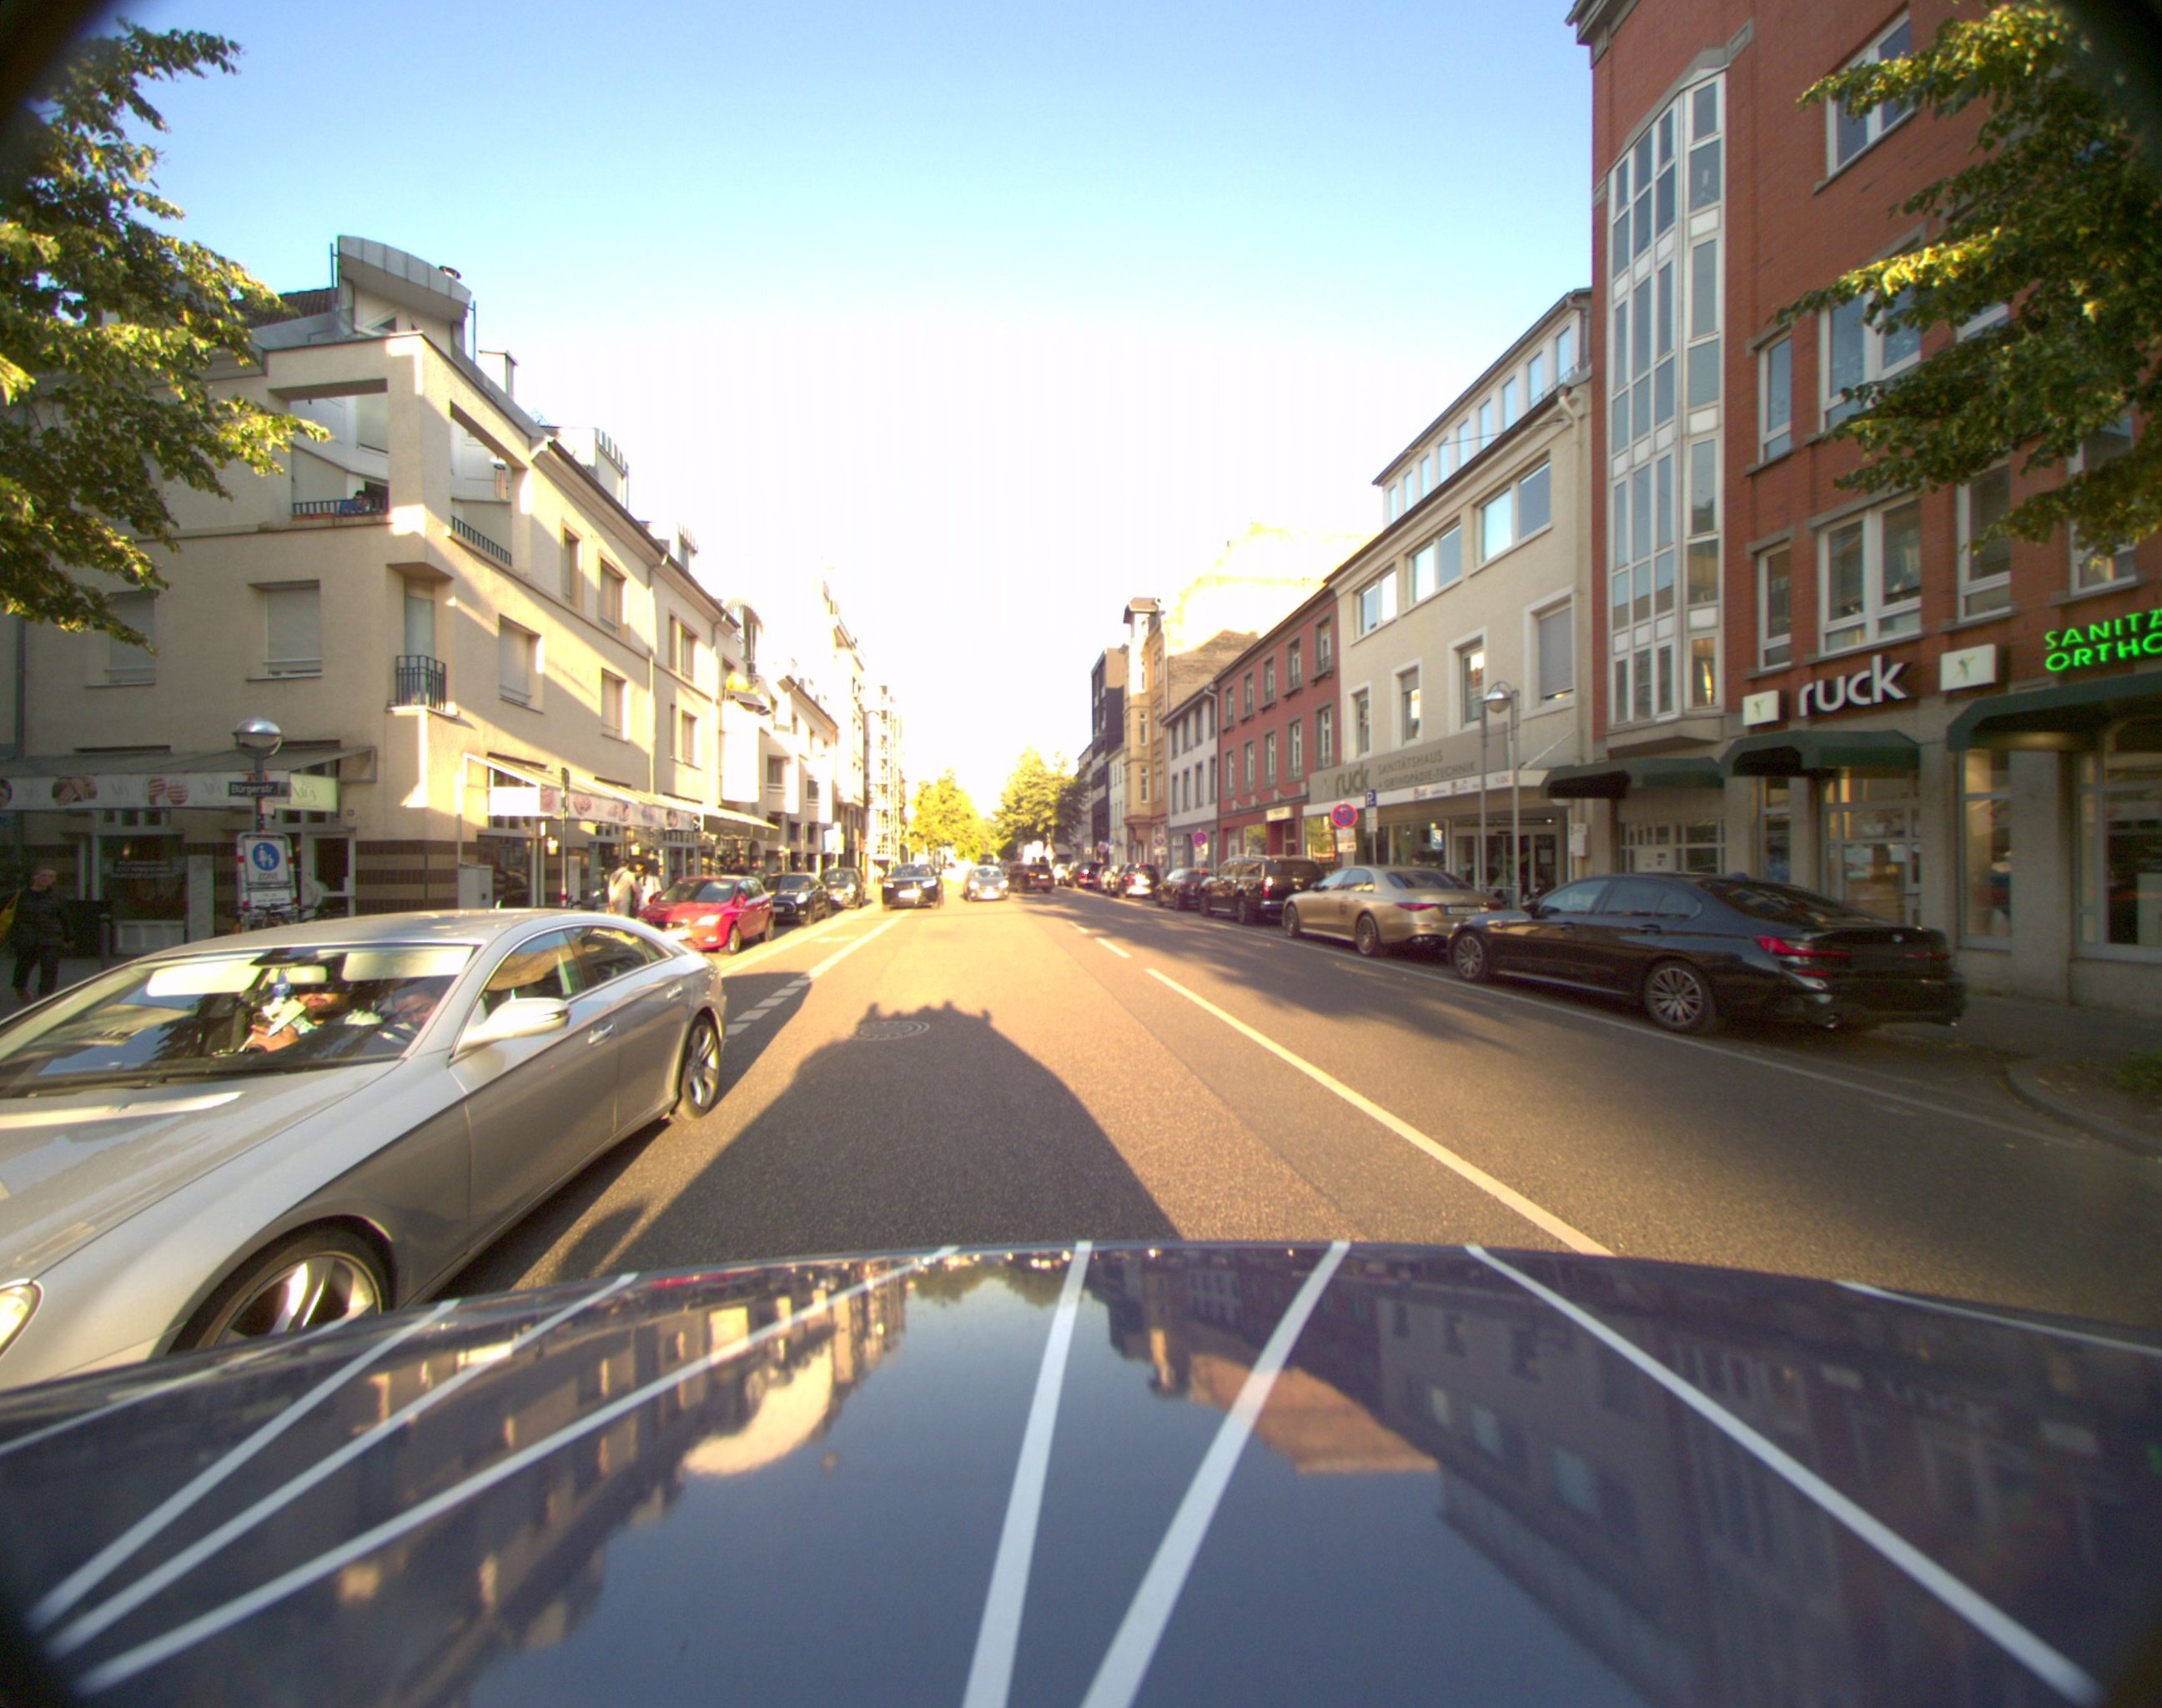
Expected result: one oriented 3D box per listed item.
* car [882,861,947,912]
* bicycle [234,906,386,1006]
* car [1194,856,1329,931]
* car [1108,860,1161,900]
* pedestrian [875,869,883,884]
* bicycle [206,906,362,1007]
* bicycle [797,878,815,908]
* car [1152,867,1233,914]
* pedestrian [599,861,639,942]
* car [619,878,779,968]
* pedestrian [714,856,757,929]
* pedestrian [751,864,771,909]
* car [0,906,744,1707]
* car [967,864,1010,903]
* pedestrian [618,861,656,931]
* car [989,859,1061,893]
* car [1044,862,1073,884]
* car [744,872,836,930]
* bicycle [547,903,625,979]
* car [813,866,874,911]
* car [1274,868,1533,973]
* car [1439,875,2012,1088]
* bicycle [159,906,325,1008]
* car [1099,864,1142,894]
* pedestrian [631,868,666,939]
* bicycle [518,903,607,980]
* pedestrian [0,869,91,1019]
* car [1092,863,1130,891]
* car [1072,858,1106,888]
[{"bbox_3d":[-5.945,1.117,27.512,1.891,1.626,4.224,-2,0,-8],"label":"car"},{"bbox_3d":[-10.300,1.311,10.244,0.322,1.098,1.878,-1,0,-7],"label":"bicycle"},{"bbox_3d":[4.632,0.961,20.335,1.726,1.768,4.935,1,-1,-9],"label":"car"},{"bbox_3d":[2.403,1.137,34.984,1.726,1.673,4.047,2,-1,-6],"label":"car"},{"bbox_3d":[-16.397,1.829,61.734,0.492,1.256,0.421,-2,1,-7],"label":"pedestrian"},{"bbox_3d":[-10.604,1.314,10.204,0.291,1.098,1.886,-1,0,-7],"label":"bicycle"},{"bbox_3d":[-10.630,1.510,29.361,0.296,1.079,1.462,-1,0,-7],"label":"bicycle"},{"bbox_3d":[3.785,1.216,26.505,1.707,1.429,4.011,2,-1,-8],"label":"car"},{"bbox_3d":[-10.241,1.037,16.850,0.545,1.748,0.502,2,0,-8],"label":"pedestrian"},{"bbox_3d":[-7.195,1.220,14.735,1.594,1.425,3.923,0,0,-8],"label":"car"},{"bbox_3d":[-9.290,1.011,20.460,0.779,1.872,0.669,-4,1,-8],"label":"pedestrian"},{"bbox_3d":[-12.782,1.296,30.367,0.576,1.789,0.450,-2,1,-7],"label":"pedestrian"},{"bbox_3d":[-3.022,1.084,3.091,1.748,1.392,4.636,-3,0,-8],"label":"car"},{"bbox_3d":[-3.910,1.184,31.985,1.623,1.465,3.686,-2,0,-8],"label":"car"},{"bbox_3d":[-11.247,1.038,19.260,0.631,1.739,0.669,0,0,-8],"label":"pedestrian"},{"bbox_3d":[-3.021,1.127,40.272,1.739,1.665,4.284,0,0,-38],"label":"car"},{"bbox_3d":[-1.632,1.335,54.823,1.674,1.512,3.562,1,0,-8],"label":"car"},{"bbox_3d":[-8.188,1.271,21.731,1.622,1.425,3.923,0,0,-8],"label":"car"},{"bbox_3d":[-8.025,1.379,12.375,0.315,1.040,1.664,0,0,-5],"label":"bicycle"},{"bbox_3d":[-9.078,1.260,29.271,1.622,1.583,3.923,-1,0,-8],"label":"car"},{"bbox_3d":[5.339,1.025,13.554,2.000,1.463,5.104,1,-1,-6],"label":"car"},{"bbox_3d":[5.891,1.012,7.893,1.726,1.464,4.538,2,-1,-7],"label":"car"},{"bbox_3d":[-11.091,1.311,10.137,0.322,1.098,1.878,-1,0,-7],"label":"bicycle"},{"bbox_3d":[2.018,1.289,40.098,1.690,1.461,3.689,2,-1,-6],"label":"car"},{"bbox_3d":[-9.886,1.118,17.372,0.521,1.583,0.408,2,0,-8],"label":"pedestrian"},{"bbox_3d":[-8.373,1.375,12.352,0.315,1.040,1.881,0,0,-5],"label":"bicycle"},{"bbox_3d":[-12.325,1.017,8.928,0.795,1.666,0.704,2,1,28],"label":"pedestrian"},{"bbox_3d":[1.682,1.301,44.072,1.674,1.448,3.563,2,-1,-6],"label":"car"},{"bbox_3d":[0.477,1.143,47.879,1.674,1.763,3.563,2,-1,-6],"label":"car"}]
